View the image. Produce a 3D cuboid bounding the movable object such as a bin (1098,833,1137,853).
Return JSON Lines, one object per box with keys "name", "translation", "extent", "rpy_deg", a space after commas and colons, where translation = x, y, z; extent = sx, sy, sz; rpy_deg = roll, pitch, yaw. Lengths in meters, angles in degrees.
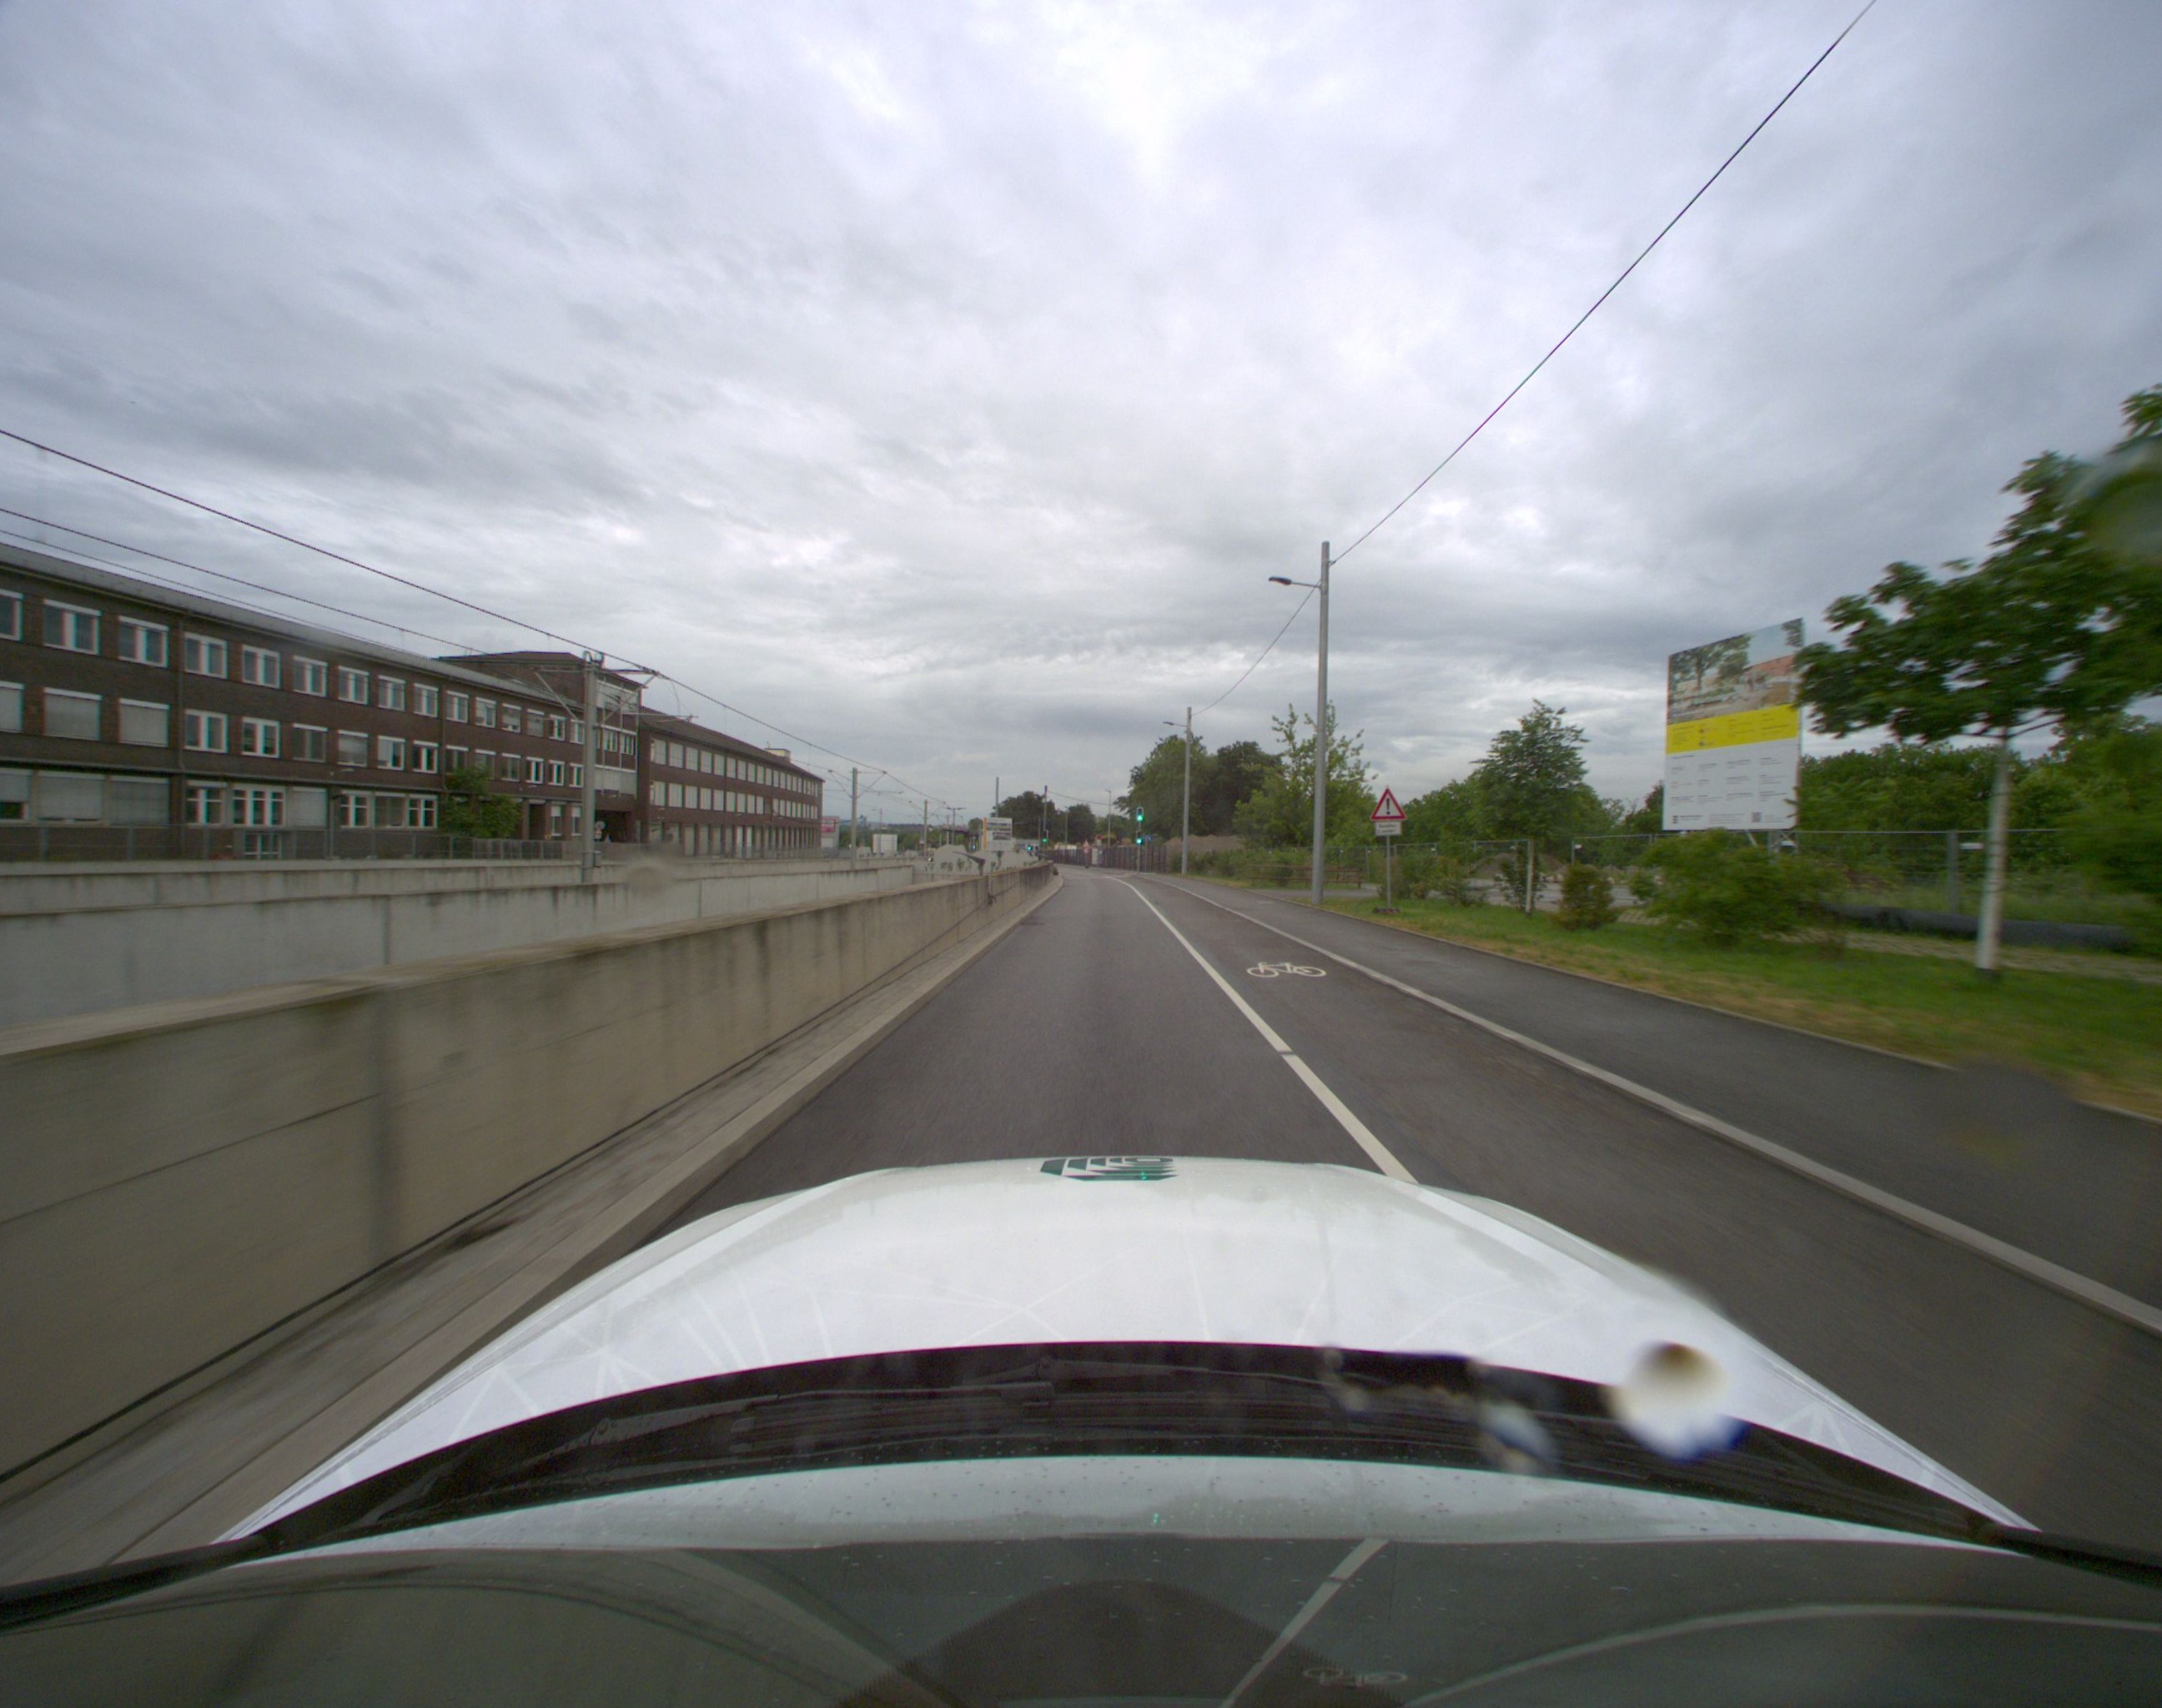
{"name": "movable object such as a bin", "translation": [10.909, -3.291, 244.169], "extent": [11.207, 5.995, 3.487], "rpy_deg": [0, -1, -4]}
